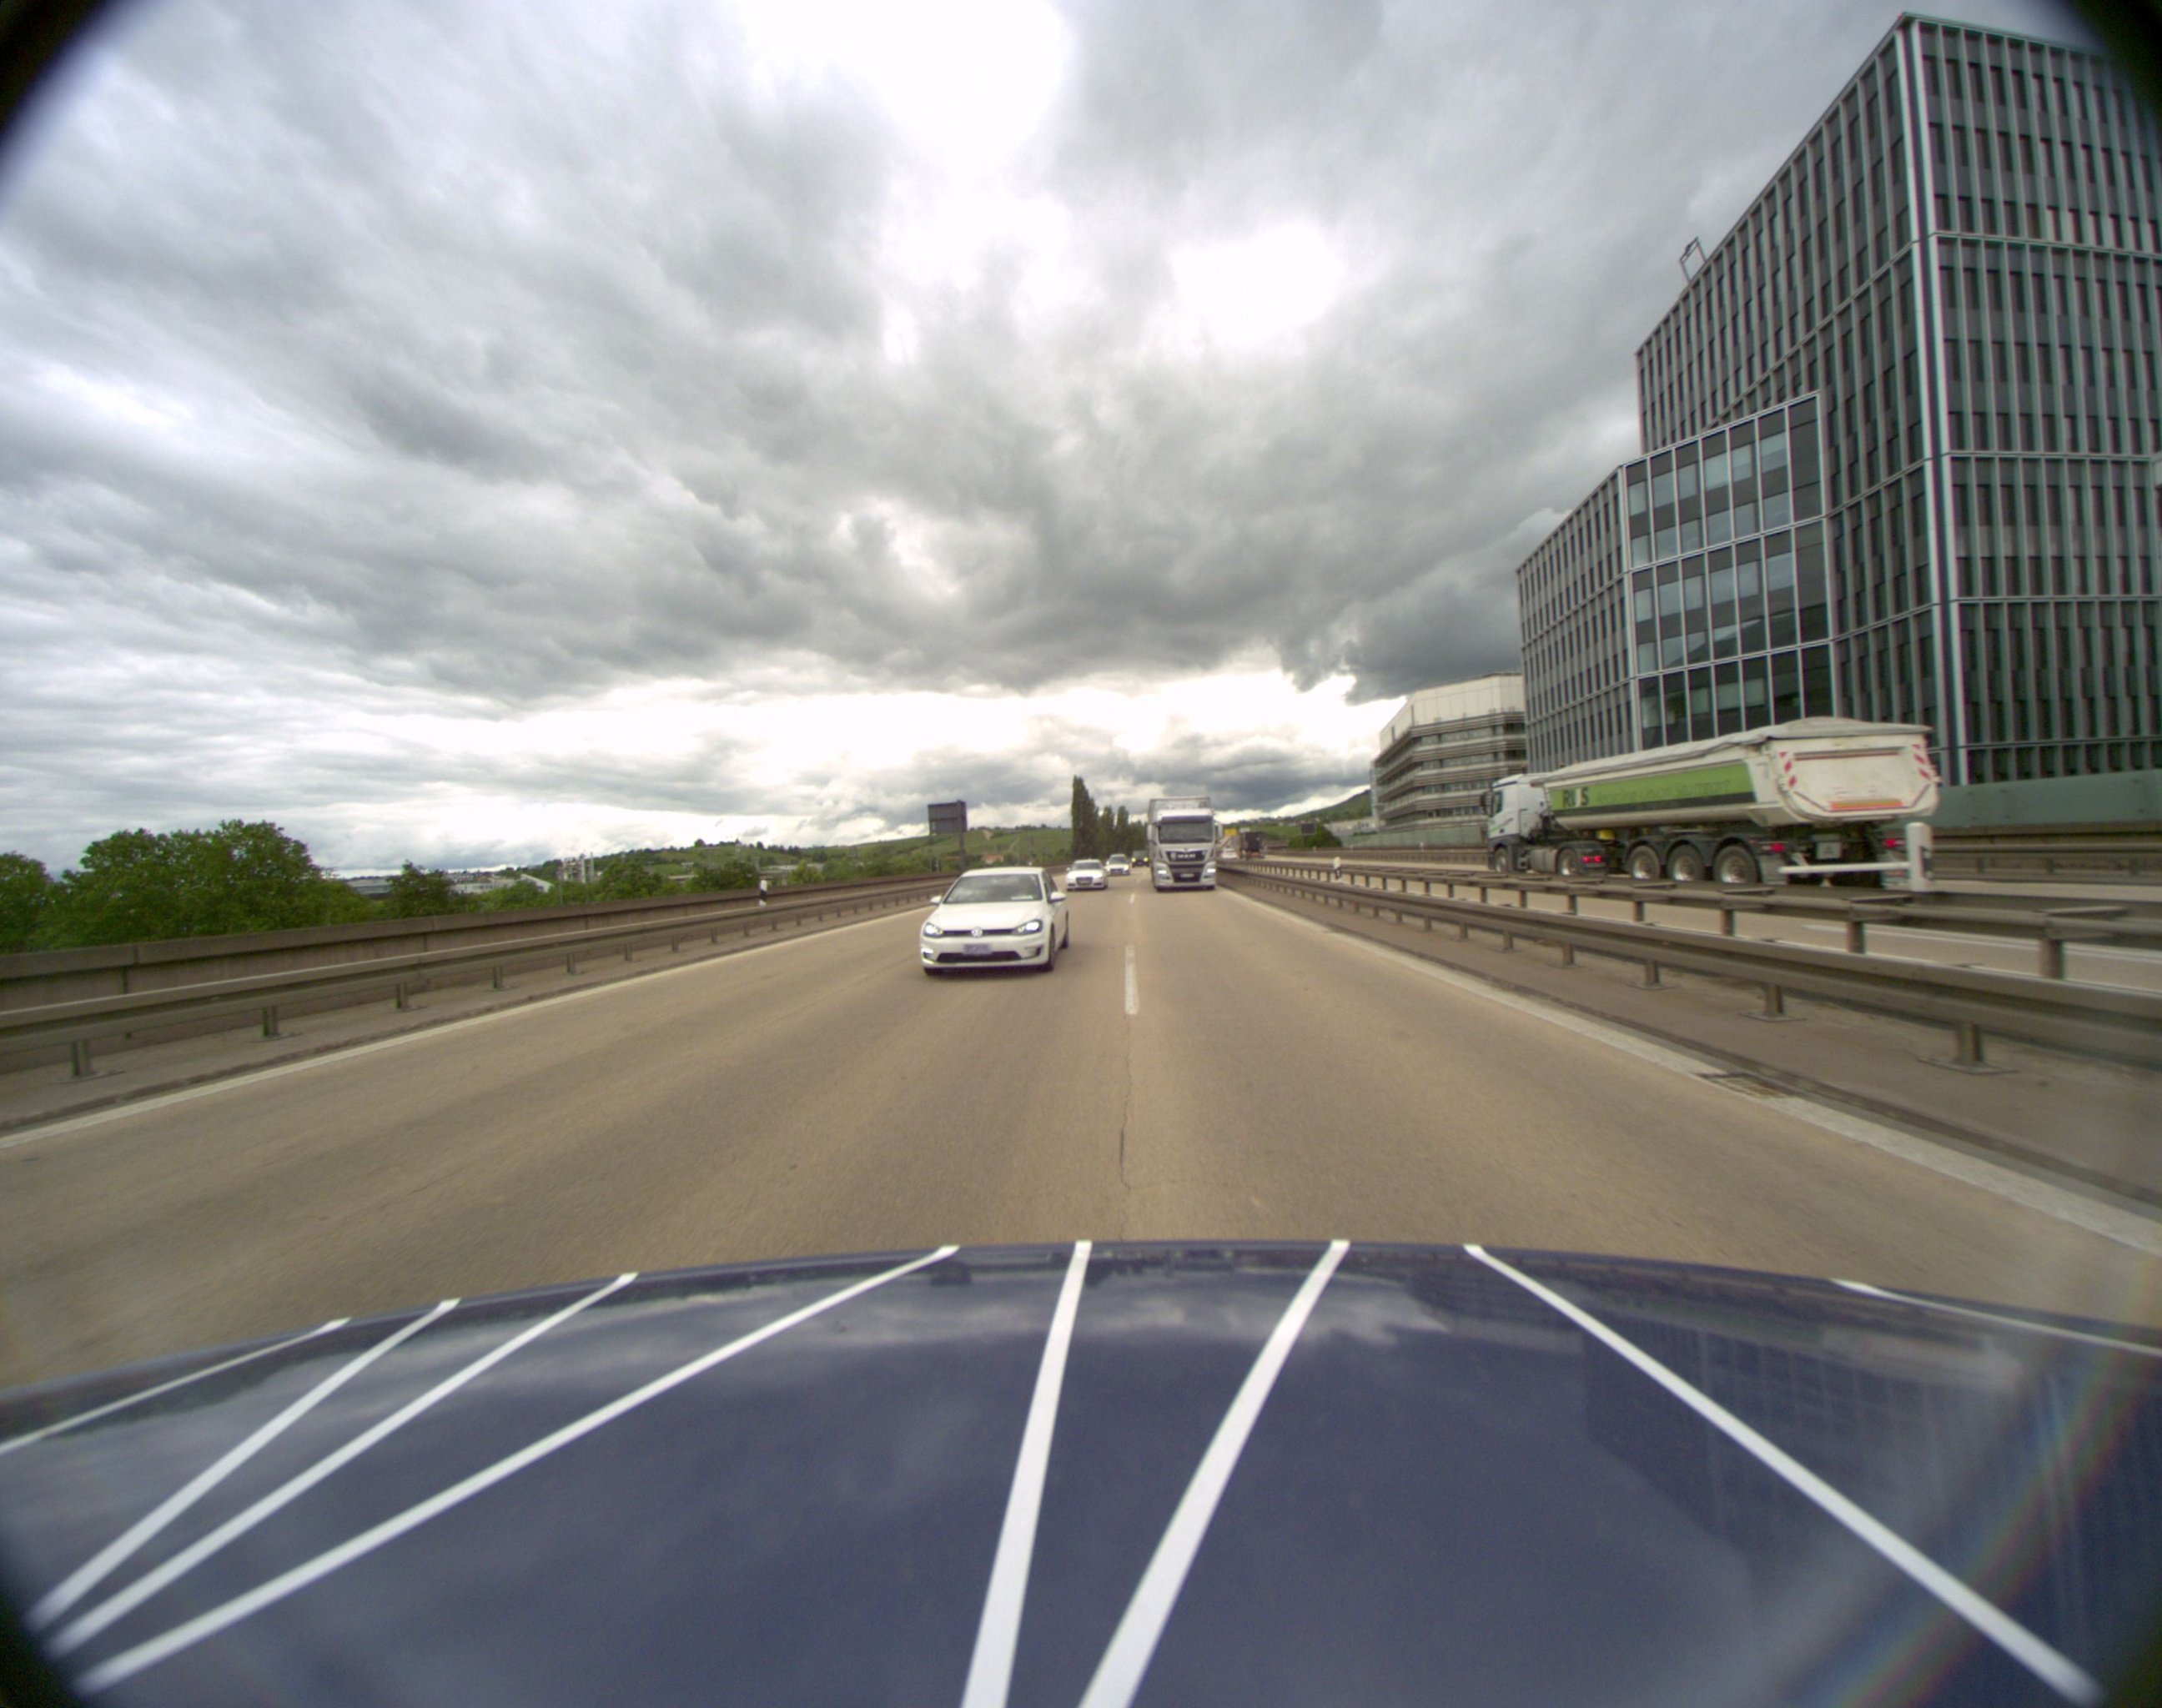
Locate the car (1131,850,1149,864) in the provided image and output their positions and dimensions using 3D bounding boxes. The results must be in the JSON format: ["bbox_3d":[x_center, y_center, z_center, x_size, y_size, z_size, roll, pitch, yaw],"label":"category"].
[{"bbox_3d":[7.139,0.330,91.379,1.929,1.585,4.063,-3,1,8],"label":"car"}]

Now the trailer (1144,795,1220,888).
[{"bbox_3d":[5.072,-0.623,40.404,3.188,4.003,11.768,-4,0,5],"label":"trailer"}]

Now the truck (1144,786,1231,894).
[{"bbox_3d":[4.407,-0.576,32.549,3.141,4.014,5.690,-4,1,5],"label":"truck"}]

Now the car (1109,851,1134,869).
[{"bbox_3d":[4.105,0.573,76.438,1.929,1.585,4.064,-3,1,11],"label":"car"}]

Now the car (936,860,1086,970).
[{"bbox_3d":[-1.047,0.939,13.450,1.930,1.499,4.062,-2,1,4],"label":"car"}]

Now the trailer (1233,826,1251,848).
[{"bbox_3d":[31.459,-3.409,148.981,2.850,3.965,11.889,-2,2,10],"label":"trailer"}]

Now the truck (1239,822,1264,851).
[{"bbox_3d":[26.081,-2.618,116.737,3.062,4.042,11.863,-2,1,10],"label":"truck"}]

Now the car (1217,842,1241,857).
[{"bbox_3d":[17.566,-0.533,90.387,1.998,1.597,4.808,-2,1,3],"label":"car"}]

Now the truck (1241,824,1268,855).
[{"bbox_3d":[24.225,-2.050,106.564,3.062,4.042,8.668,-2,1,10],"label":"truck"}]

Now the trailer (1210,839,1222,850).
[{"bbox_3d":[25.403,-1.779,142.858,1.997,2.002,4.001,-2,1,7],"label":"trailer"}]

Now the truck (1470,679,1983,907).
[{"bbox_3d":[14.233,-1.107,19.249,3.064,3.754,12.520,-2,1,4],"label":"truck"}]

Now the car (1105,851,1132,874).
[{"bbox_3d":[3.000,0.621,60.034,1.930,1.585,4.062,-3,1,5],"label":"car"}]

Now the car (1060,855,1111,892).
[{"bbox_3d":[0.282,0.879,36.596,1.929,1.499,4.063,-3,1,7],"label":"car"}]
